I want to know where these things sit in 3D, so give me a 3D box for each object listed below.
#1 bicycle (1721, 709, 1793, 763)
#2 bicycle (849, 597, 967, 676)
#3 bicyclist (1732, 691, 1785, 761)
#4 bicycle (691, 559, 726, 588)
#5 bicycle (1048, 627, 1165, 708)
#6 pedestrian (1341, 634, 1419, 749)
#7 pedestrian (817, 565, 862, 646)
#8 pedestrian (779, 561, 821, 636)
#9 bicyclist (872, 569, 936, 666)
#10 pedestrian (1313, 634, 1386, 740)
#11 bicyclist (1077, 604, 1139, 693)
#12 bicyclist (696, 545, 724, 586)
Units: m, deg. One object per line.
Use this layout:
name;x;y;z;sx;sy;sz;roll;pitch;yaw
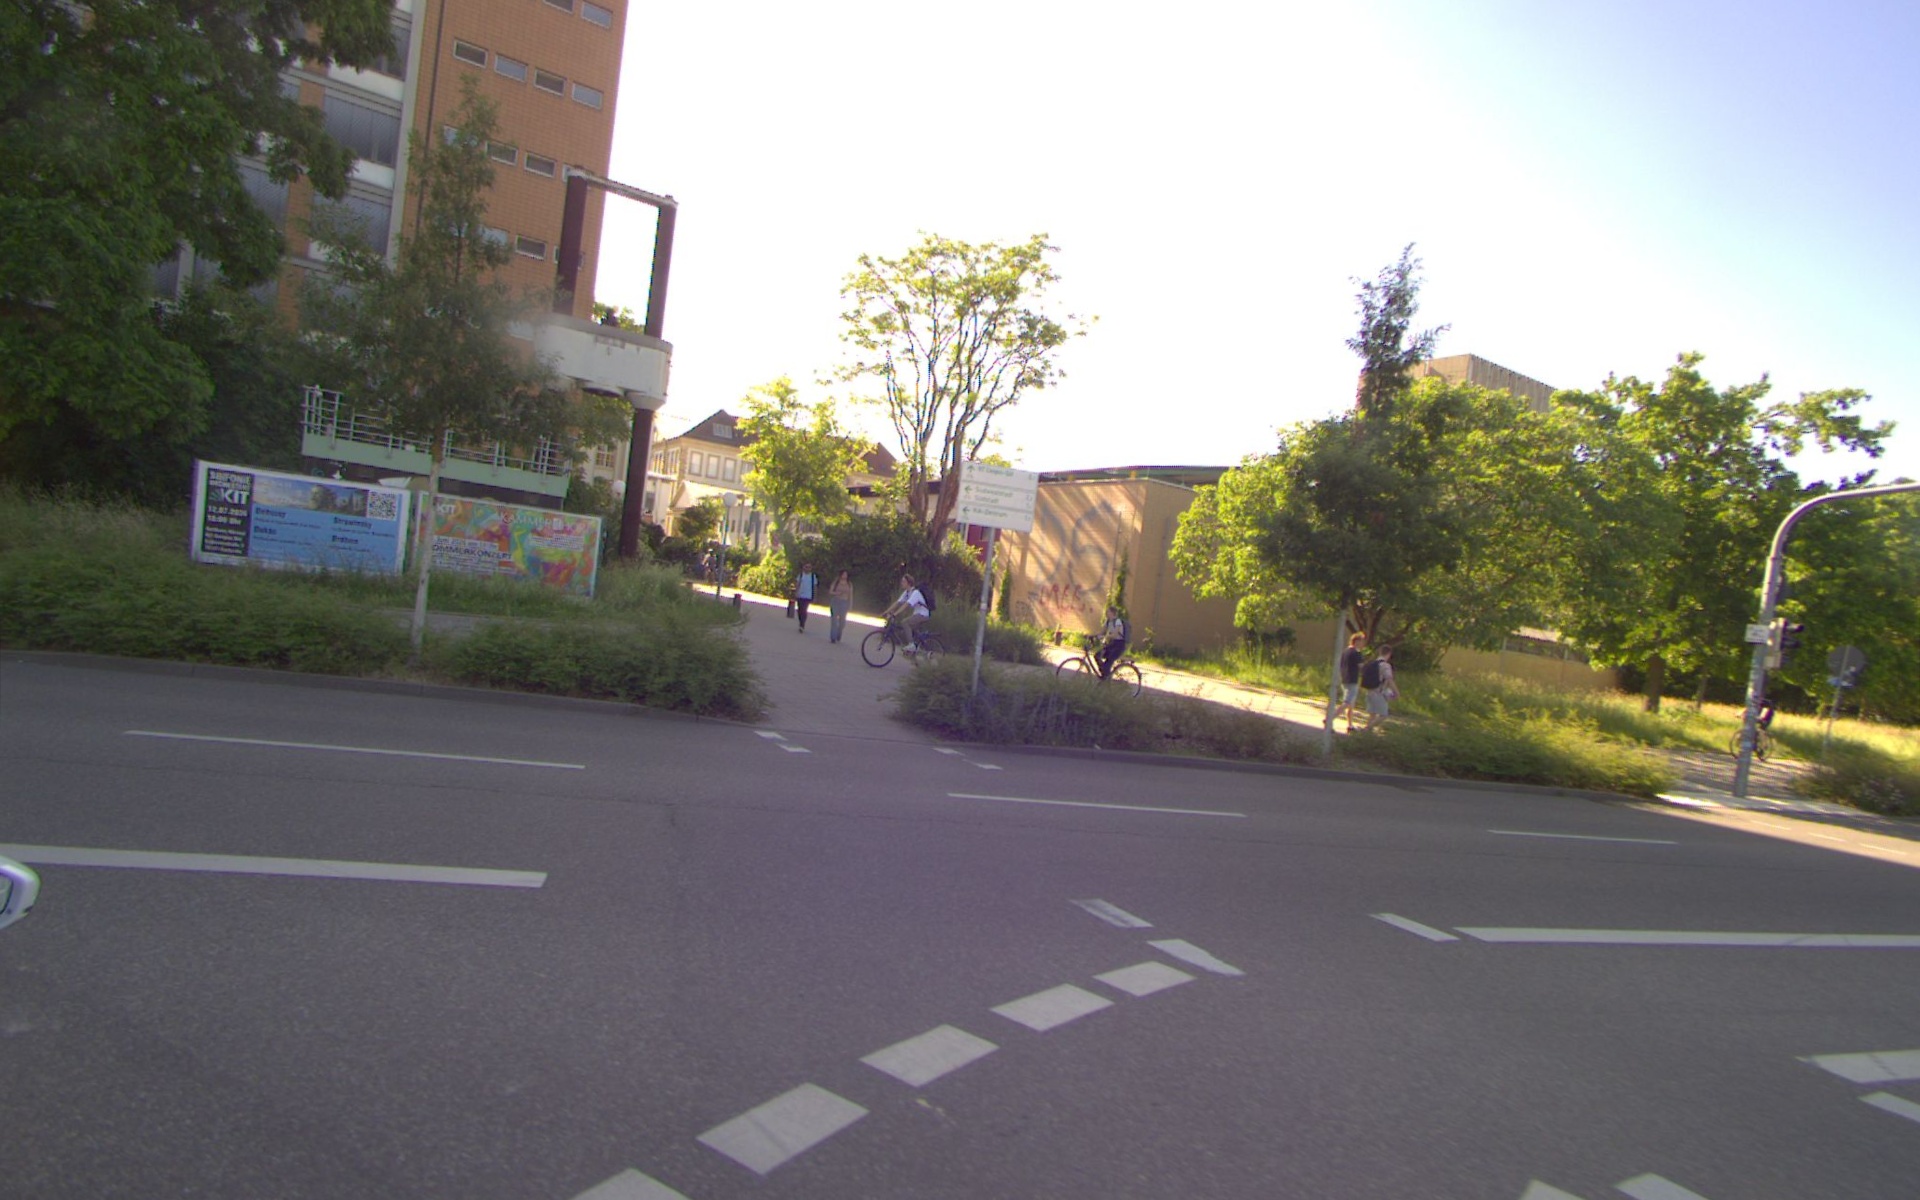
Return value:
bicycle;20.524;3.492;25.888;1.848;1.179;0.638;7;1;-27
bicycle;-0.951;0.675;18.413;1.930;1.181;0.639;7;4;-21
bicyclist;20.549;3.248;25.879;0.767;1.666;0.638;7;1;-28
bicycle;-11.683;-1.215;46.733;0.734;1.179;1.871;8;0;11
bicycle;2.638;1.217;18.171;1.839;1.180;0.641;7;3;-11
pedestrian;7.293;1.573;17.500;0.724;1.837;0.729;9;0;-12
pedestrian;-2.667;0.111;22.240;0.667;1.662;0.734;9;0;-12
pedestrian;-3.818;-0.036;24.013;0.666;1.662;0.735;9;0;-2
bicyclist;-1.024;0.315;18.338;0.821;1.617;0.627;6;4;-21
pedestrian;7.190;1.586;18.608;0.724;1.803;0.729;9;0;-12
bicyclist;2.659;0.870;18.140;0.764;1.463;0.641;7;3;-11
bicyclist;-11.617;-1.587;46.809;0.708;1.757;0.978;8;1;11
